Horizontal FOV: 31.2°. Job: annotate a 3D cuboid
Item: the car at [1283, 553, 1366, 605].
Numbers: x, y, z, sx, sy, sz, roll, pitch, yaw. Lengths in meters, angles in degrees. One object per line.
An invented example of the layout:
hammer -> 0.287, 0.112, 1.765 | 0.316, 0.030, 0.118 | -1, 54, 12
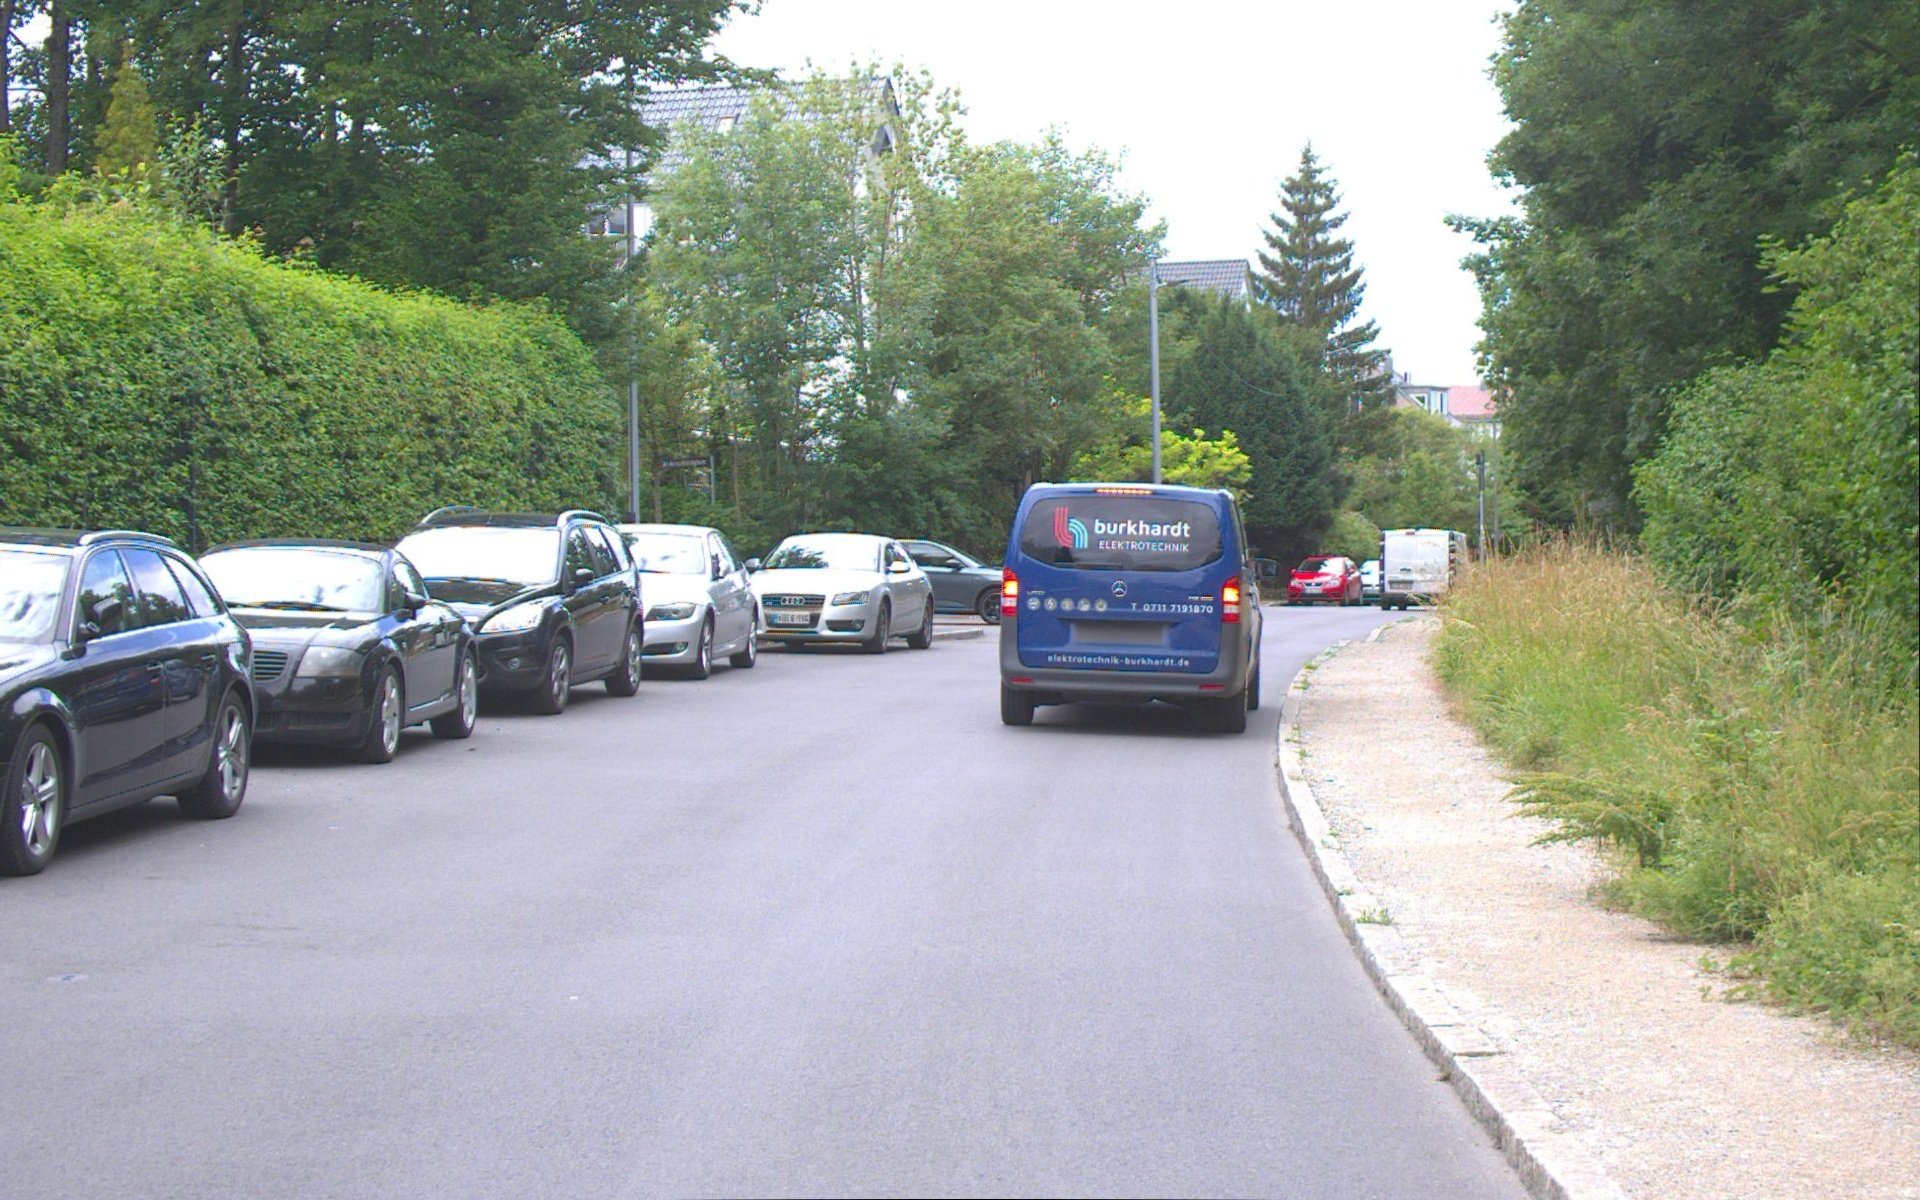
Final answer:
car -> 10.413, -0.592, 98.062 | 1.636, 1.400, 3.997 | 1, 1, 16

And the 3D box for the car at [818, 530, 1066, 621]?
car -> -0.294, -0.426, 59.051 | 4.167, 1.442, 1.740 | 1, 0, 1

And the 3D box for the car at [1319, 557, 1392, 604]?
car -> 12.383, -0.598, 107.458 | 1.750, 1.400, 3.997 | 1, 1, 13

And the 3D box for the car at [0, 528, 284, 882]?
car -> -4.509, 0.374, 15.427 | 1.718, 1.380, 4.663 | 1, 1, 4

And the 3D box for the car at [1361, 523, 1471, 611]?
car -> 11.179, -0.827, 83.973 | 2.207, 2.056, 6.132 | 1, 1, 12

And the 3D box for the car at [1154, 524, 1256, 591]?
car -> 5.593, -0.949, 78.075 | 1.706, 1.463, 4.073 | 1, 1, 12

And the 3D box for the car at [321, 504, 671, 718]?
car -> -3.606, 0.038, 27.511 | 1.657, 1.528, 4.473 | 2, 1, 7

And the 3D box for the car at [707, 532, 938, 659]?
car -> -1.569, -0.092, 40.846 | 1.832, 1.369, 4.443 | 2, 1, 10

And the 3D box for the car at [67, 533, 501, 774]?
car -> -4.157, 0.266, 21.777 | 1.711, 1.336, 4.107 | 2, 1, 3

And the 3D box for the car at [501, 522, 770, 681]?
car -> -3.012, -0.027, 32.804 | 1.775, 1.369, 4.340 | 2, 1, 5

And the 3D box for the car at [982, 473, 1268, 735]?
car -> 1.400, -0.016, 27.325 | 1.937, 1.873, 4.529 | 1, 1, 7
